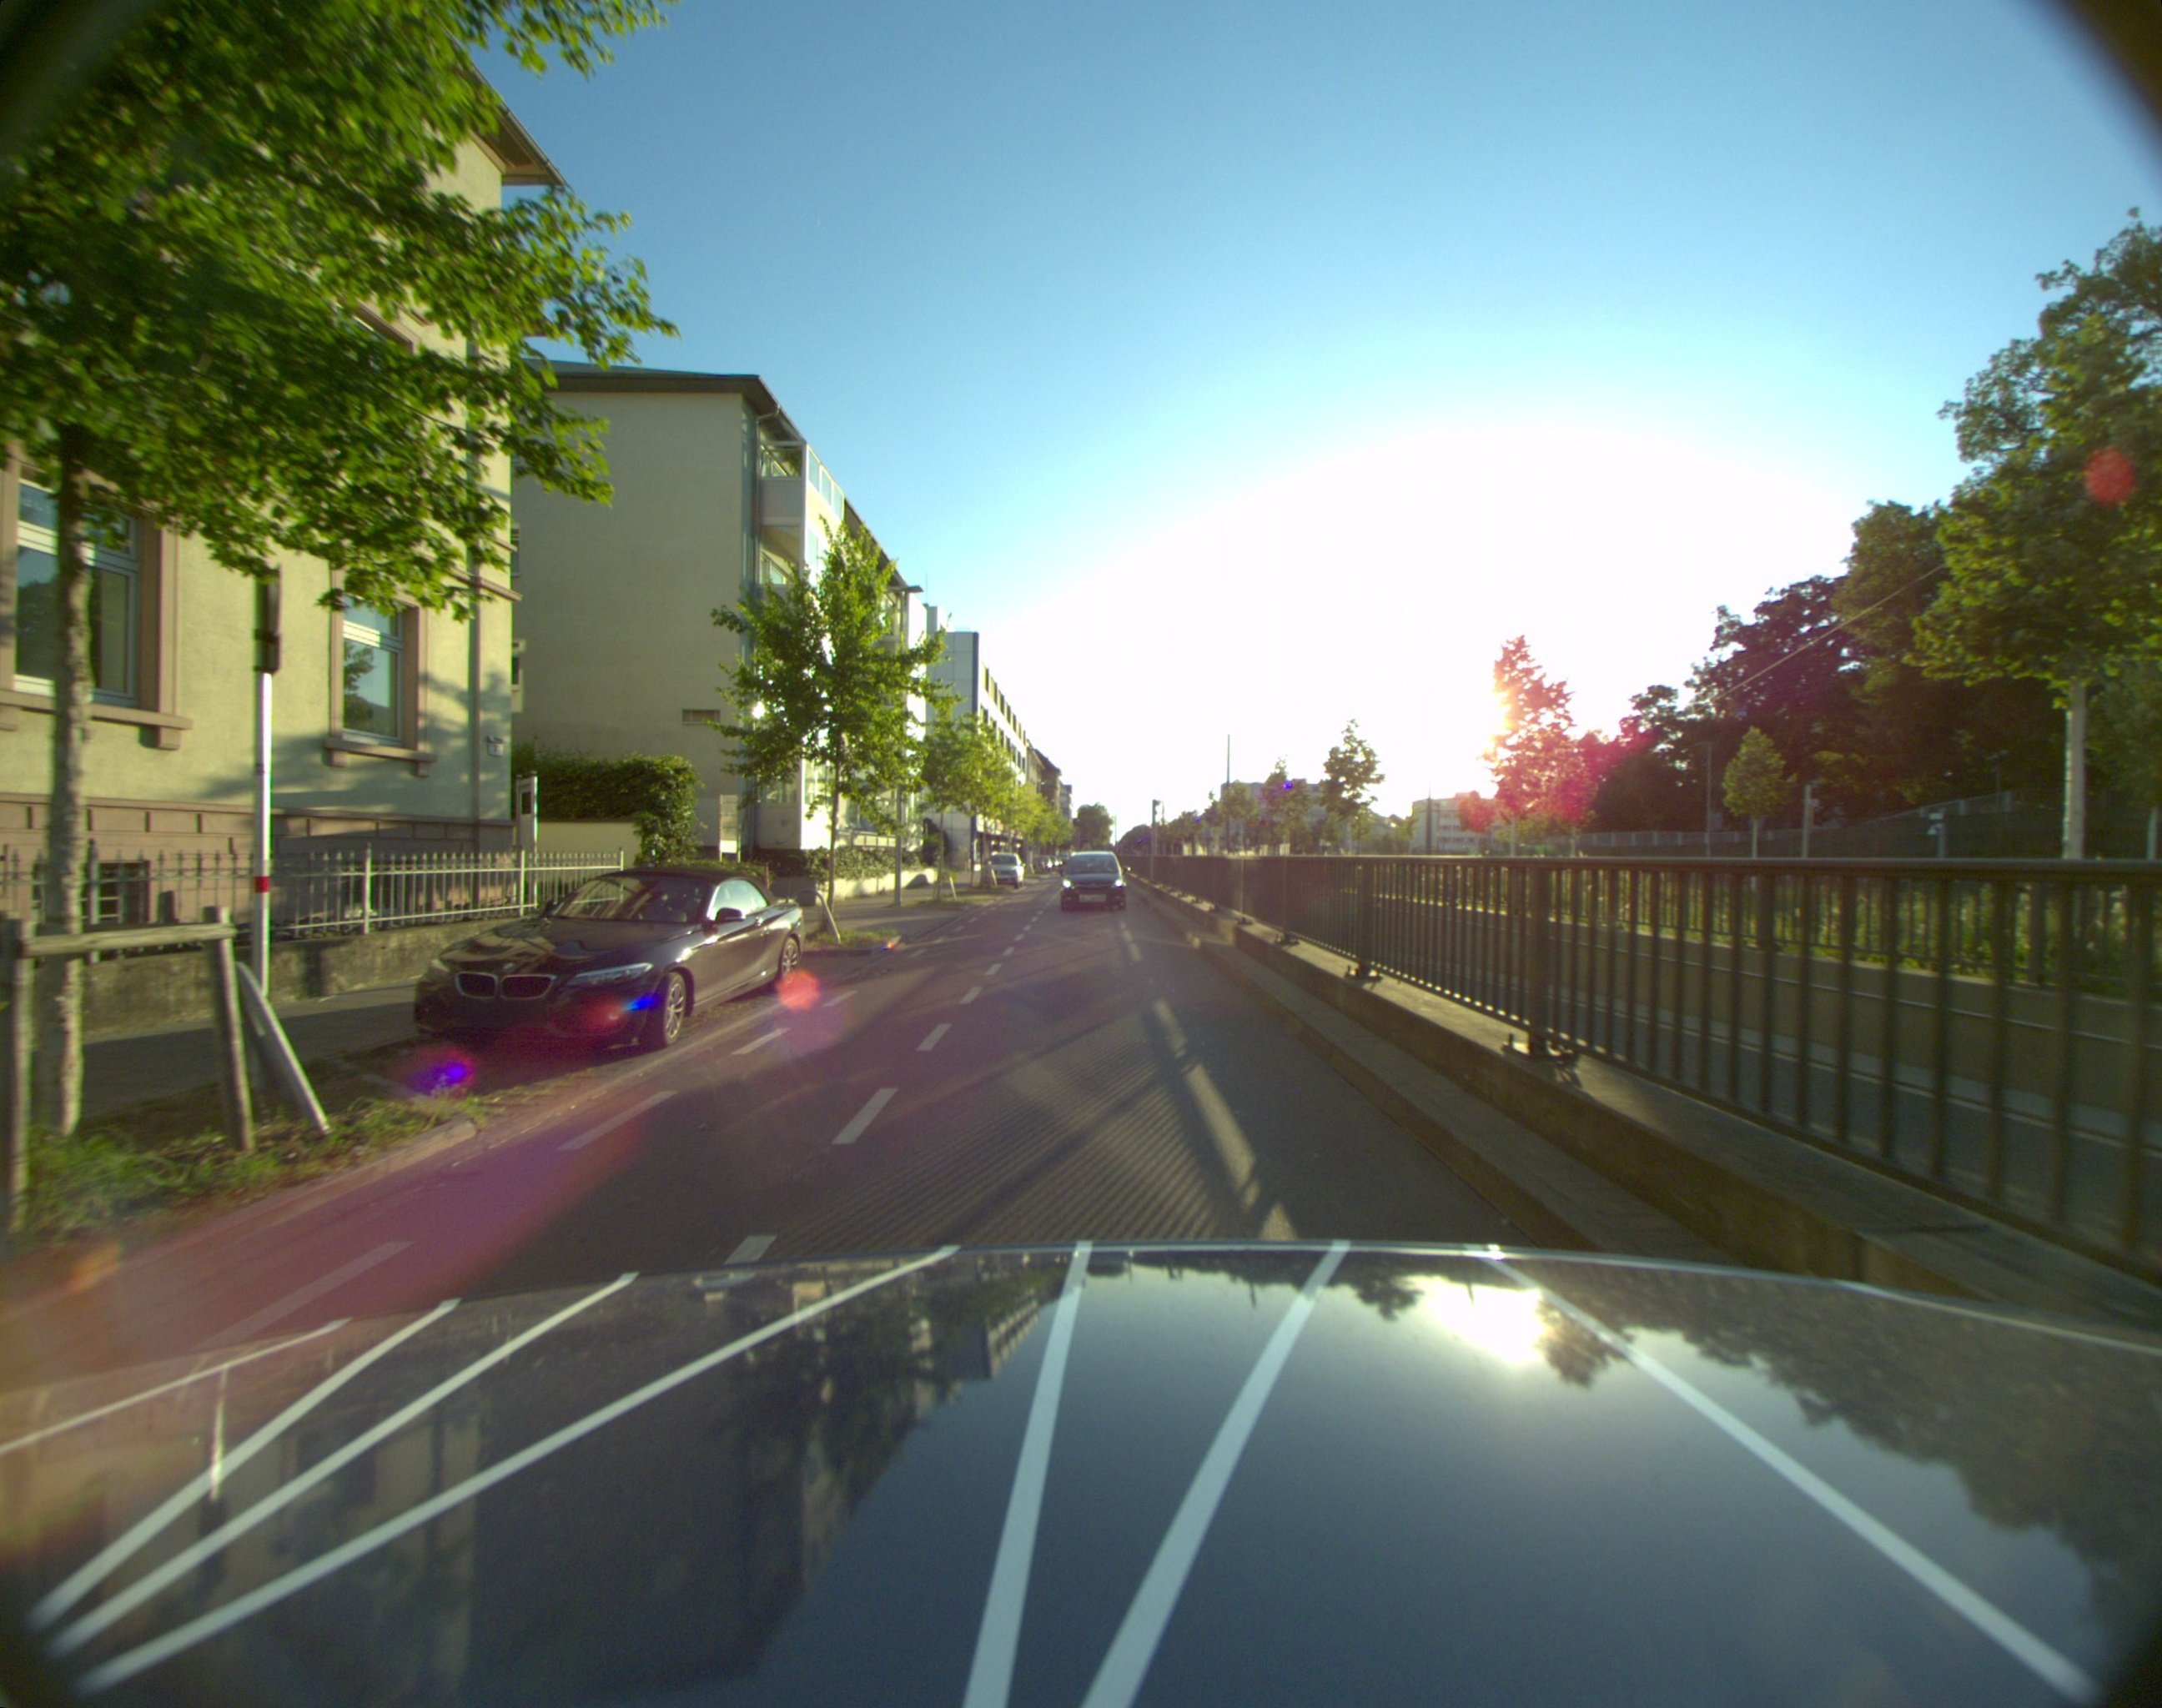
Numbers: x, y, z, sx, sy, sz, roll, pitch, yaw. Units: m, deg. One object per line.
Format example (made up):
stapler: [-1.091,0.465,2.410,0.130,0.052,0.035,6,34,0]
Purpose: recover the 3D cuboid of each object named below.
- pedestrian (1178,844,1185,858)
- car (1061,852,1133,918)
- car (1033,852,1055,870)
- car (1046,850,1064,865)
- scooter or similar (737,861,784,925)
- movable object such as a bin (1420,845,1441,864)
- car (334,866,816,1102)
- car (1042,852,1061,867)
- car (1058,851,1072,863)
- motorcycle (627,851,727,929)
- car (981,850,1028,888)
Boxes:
pedestrian: [12.599,-0.378,95.054,0.636,1.719,0.635,0,1,-12]
car: [0.412,0.766,21.328,1.800,1.609,4.386,-1,1,0]
car: [-3.253,0.552,66.079,1.824,1.446,4.127,1,0,-3]
car: [-2.893,0.404,86.386,1.824,1.557,4.809,4,0,-1]
scooter or similar: [-6.711,0.790,15.945,0.492,1.251,1.208,-1,1,-3]
movable object such as a bin: [49.802,0.102,108.391,1.996,2.690,4.004,0,1,14]
car: [-4.240,0.932,7.439,1.797,1.462,4.444,3,0,-2]
car: [-2.968,0.547,76.325,1.688,1.446,4.129,1,0,0]
car: [-2.245,0.392,109.026,1.761,1.644,4.528,3,0,1]
motorcycle: [-7.699,0.677,14.522,1.500,1.404,0.626,2,-1,-3]
car: [-3.638,0.692,36.665,1.859,1.697,4.253,2,0,-1]
